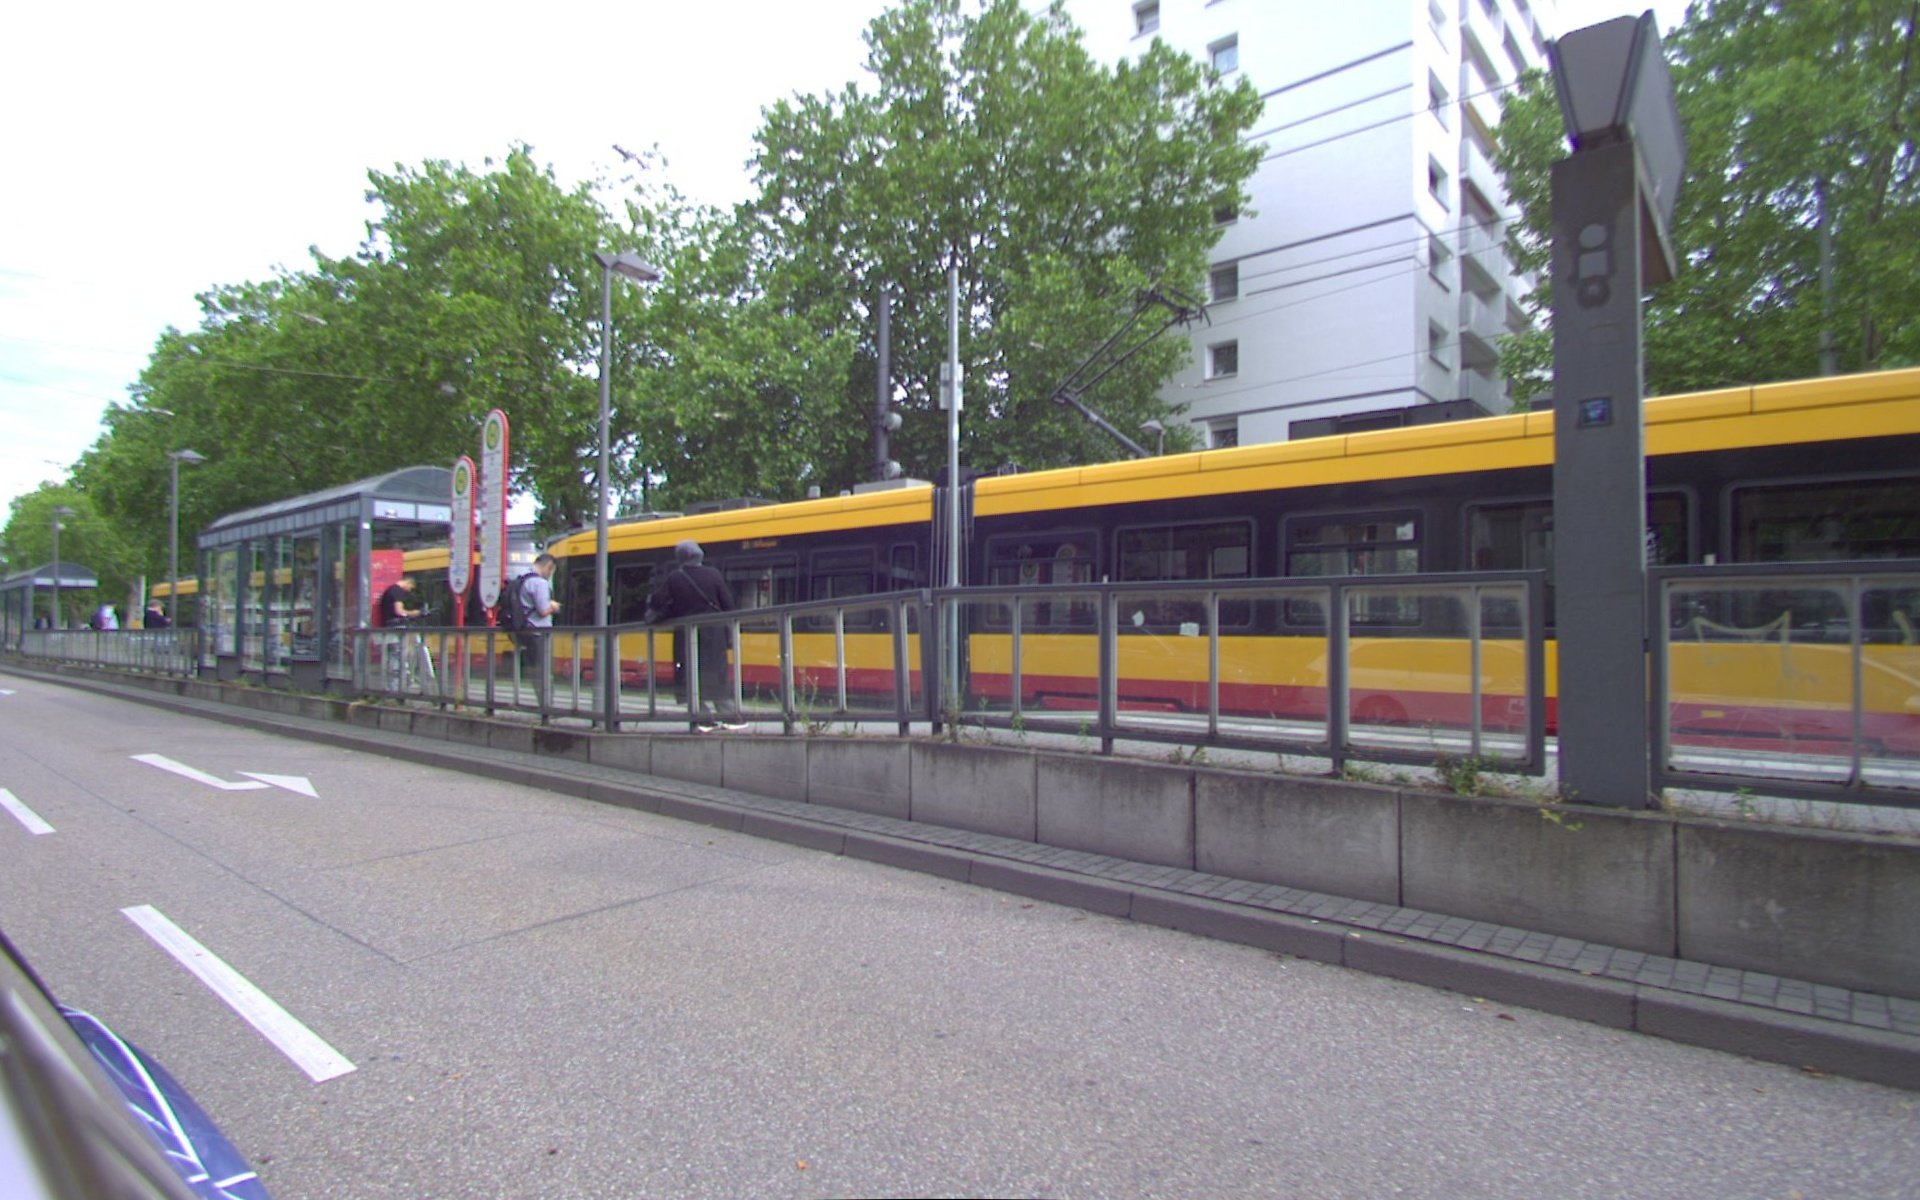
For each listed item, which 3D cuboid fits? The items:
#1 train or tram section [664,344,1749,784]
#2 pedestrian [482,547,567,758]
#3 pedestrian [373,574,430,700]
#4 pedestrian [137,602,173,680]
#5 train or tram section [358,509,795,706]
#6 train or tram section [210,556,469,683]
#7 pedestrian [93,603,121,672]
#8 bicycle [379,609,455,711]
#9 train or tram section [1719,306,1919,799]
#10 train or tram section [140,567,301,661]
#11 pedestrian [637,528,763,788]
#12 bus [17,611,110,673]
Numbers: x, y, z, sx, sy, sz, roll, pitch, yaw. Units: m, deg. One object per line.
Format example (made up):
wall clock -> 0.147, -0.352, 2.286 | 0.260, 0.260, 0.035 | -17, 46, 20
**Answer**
train or tram section -> 1.402, -0.161, 14.369 | 15.286, 3.558, 3.028 | -1, -1, 41
pedestrian -> -4.440, 0.511, 10.302 | 0.742, 2.029, 0.821 | 0, -1, -26
pedestrian -> -7.541, 0.490, 13.665 | 0.471, 1.645, 0.526 | -1, -1, 39
pedestrian -> -17.141, 0.861, 21.548 | 0.730, 1.645, 0.506 | -2, -1, 42
train or tram section -> -10.102, 0.276, 24.455 | 15.286, 3.558, 3.028 | -1, -1, 41
train or tram section -> -21.778, 0.686, 34.667 | 15.763, 3.558, 3.028 | -1, -1, 41
pedestrian -> -20.737, 0.905, 24.602 | 0.392, 1.645, 0.474 | -2, -1, 42
bicycle -> -6.891, 0.742, 12.830 | 1.289, 1.231, 0.414 | -1, -1, 41
train or tram section -> 13.115, -0.467, 4.116 | 15.840, 3.616, 3.028 | -1, -1, 41
train or tram section -> -32.401, 0.643, 44.027 | 12.533, 3.589, 3.060 | -1, -1, 41
pedestrian -> -2.117, 0.460, 8.321 | 0.808, 2.029, 0.754 | -1, -1, 4
bus -> -31.773, 1.444, 35.838 | 3.998, 2.029, 1.973 | -1, -1, 41
